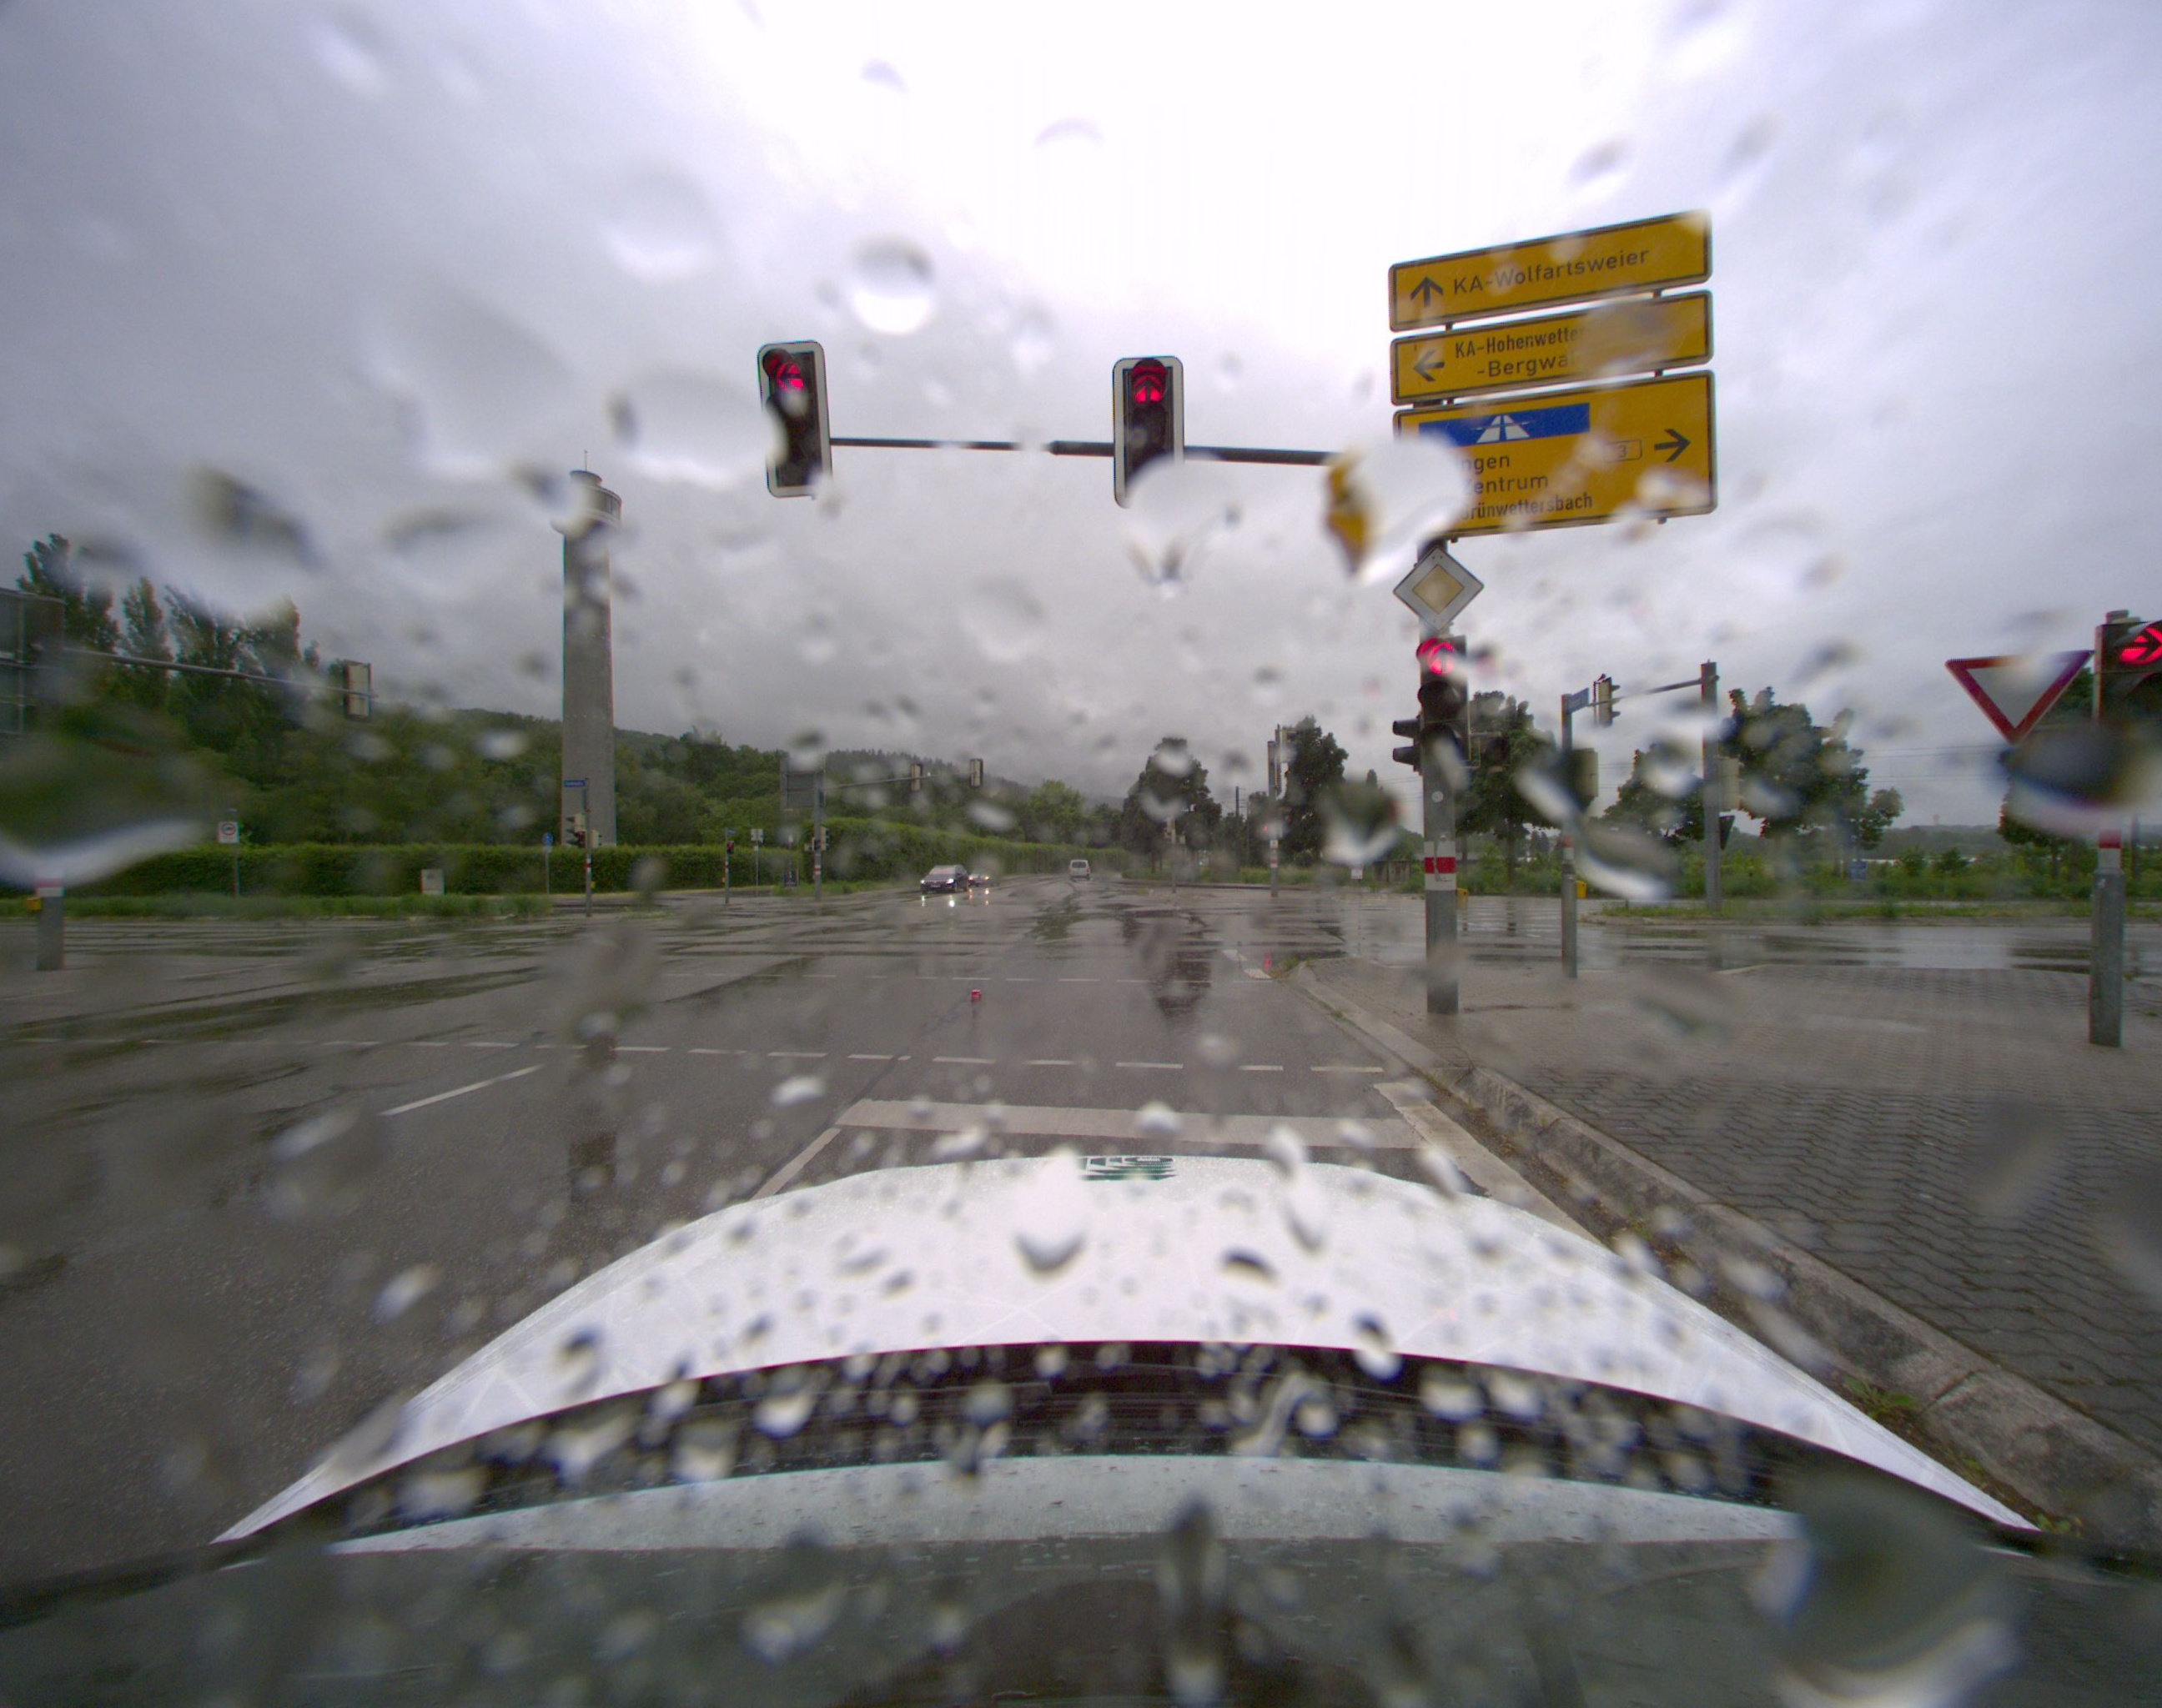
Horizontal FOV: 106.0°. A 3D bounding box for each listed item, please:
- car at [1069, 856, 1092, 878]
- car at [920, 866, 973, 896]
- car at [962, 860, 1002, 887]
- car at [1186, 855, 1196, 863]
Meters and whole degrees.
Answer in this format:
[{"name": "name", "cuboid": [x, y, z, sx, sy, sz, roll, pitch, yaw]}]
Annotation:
[{"name": "car", "cuboid": [-0.059, 1.149, 73.343, 1.947, 1.904, 4.119, -1, 0, 0]}, {"name": "car", "cuboid": [-7.148, 1.392, 43.789, 1.700, 1.466, 4.459, -1, 0, 5]}, {"name": "car", "cuboid": [-6.636, 1.288, 54.794, 2.029, 1.708, 4.067, -1, 0, 2]}, {"name": "car", "cuboid": [26.786, 1.240, 198.344, 1.917, 1.890, 4.079, -1, 0, 16]}]
